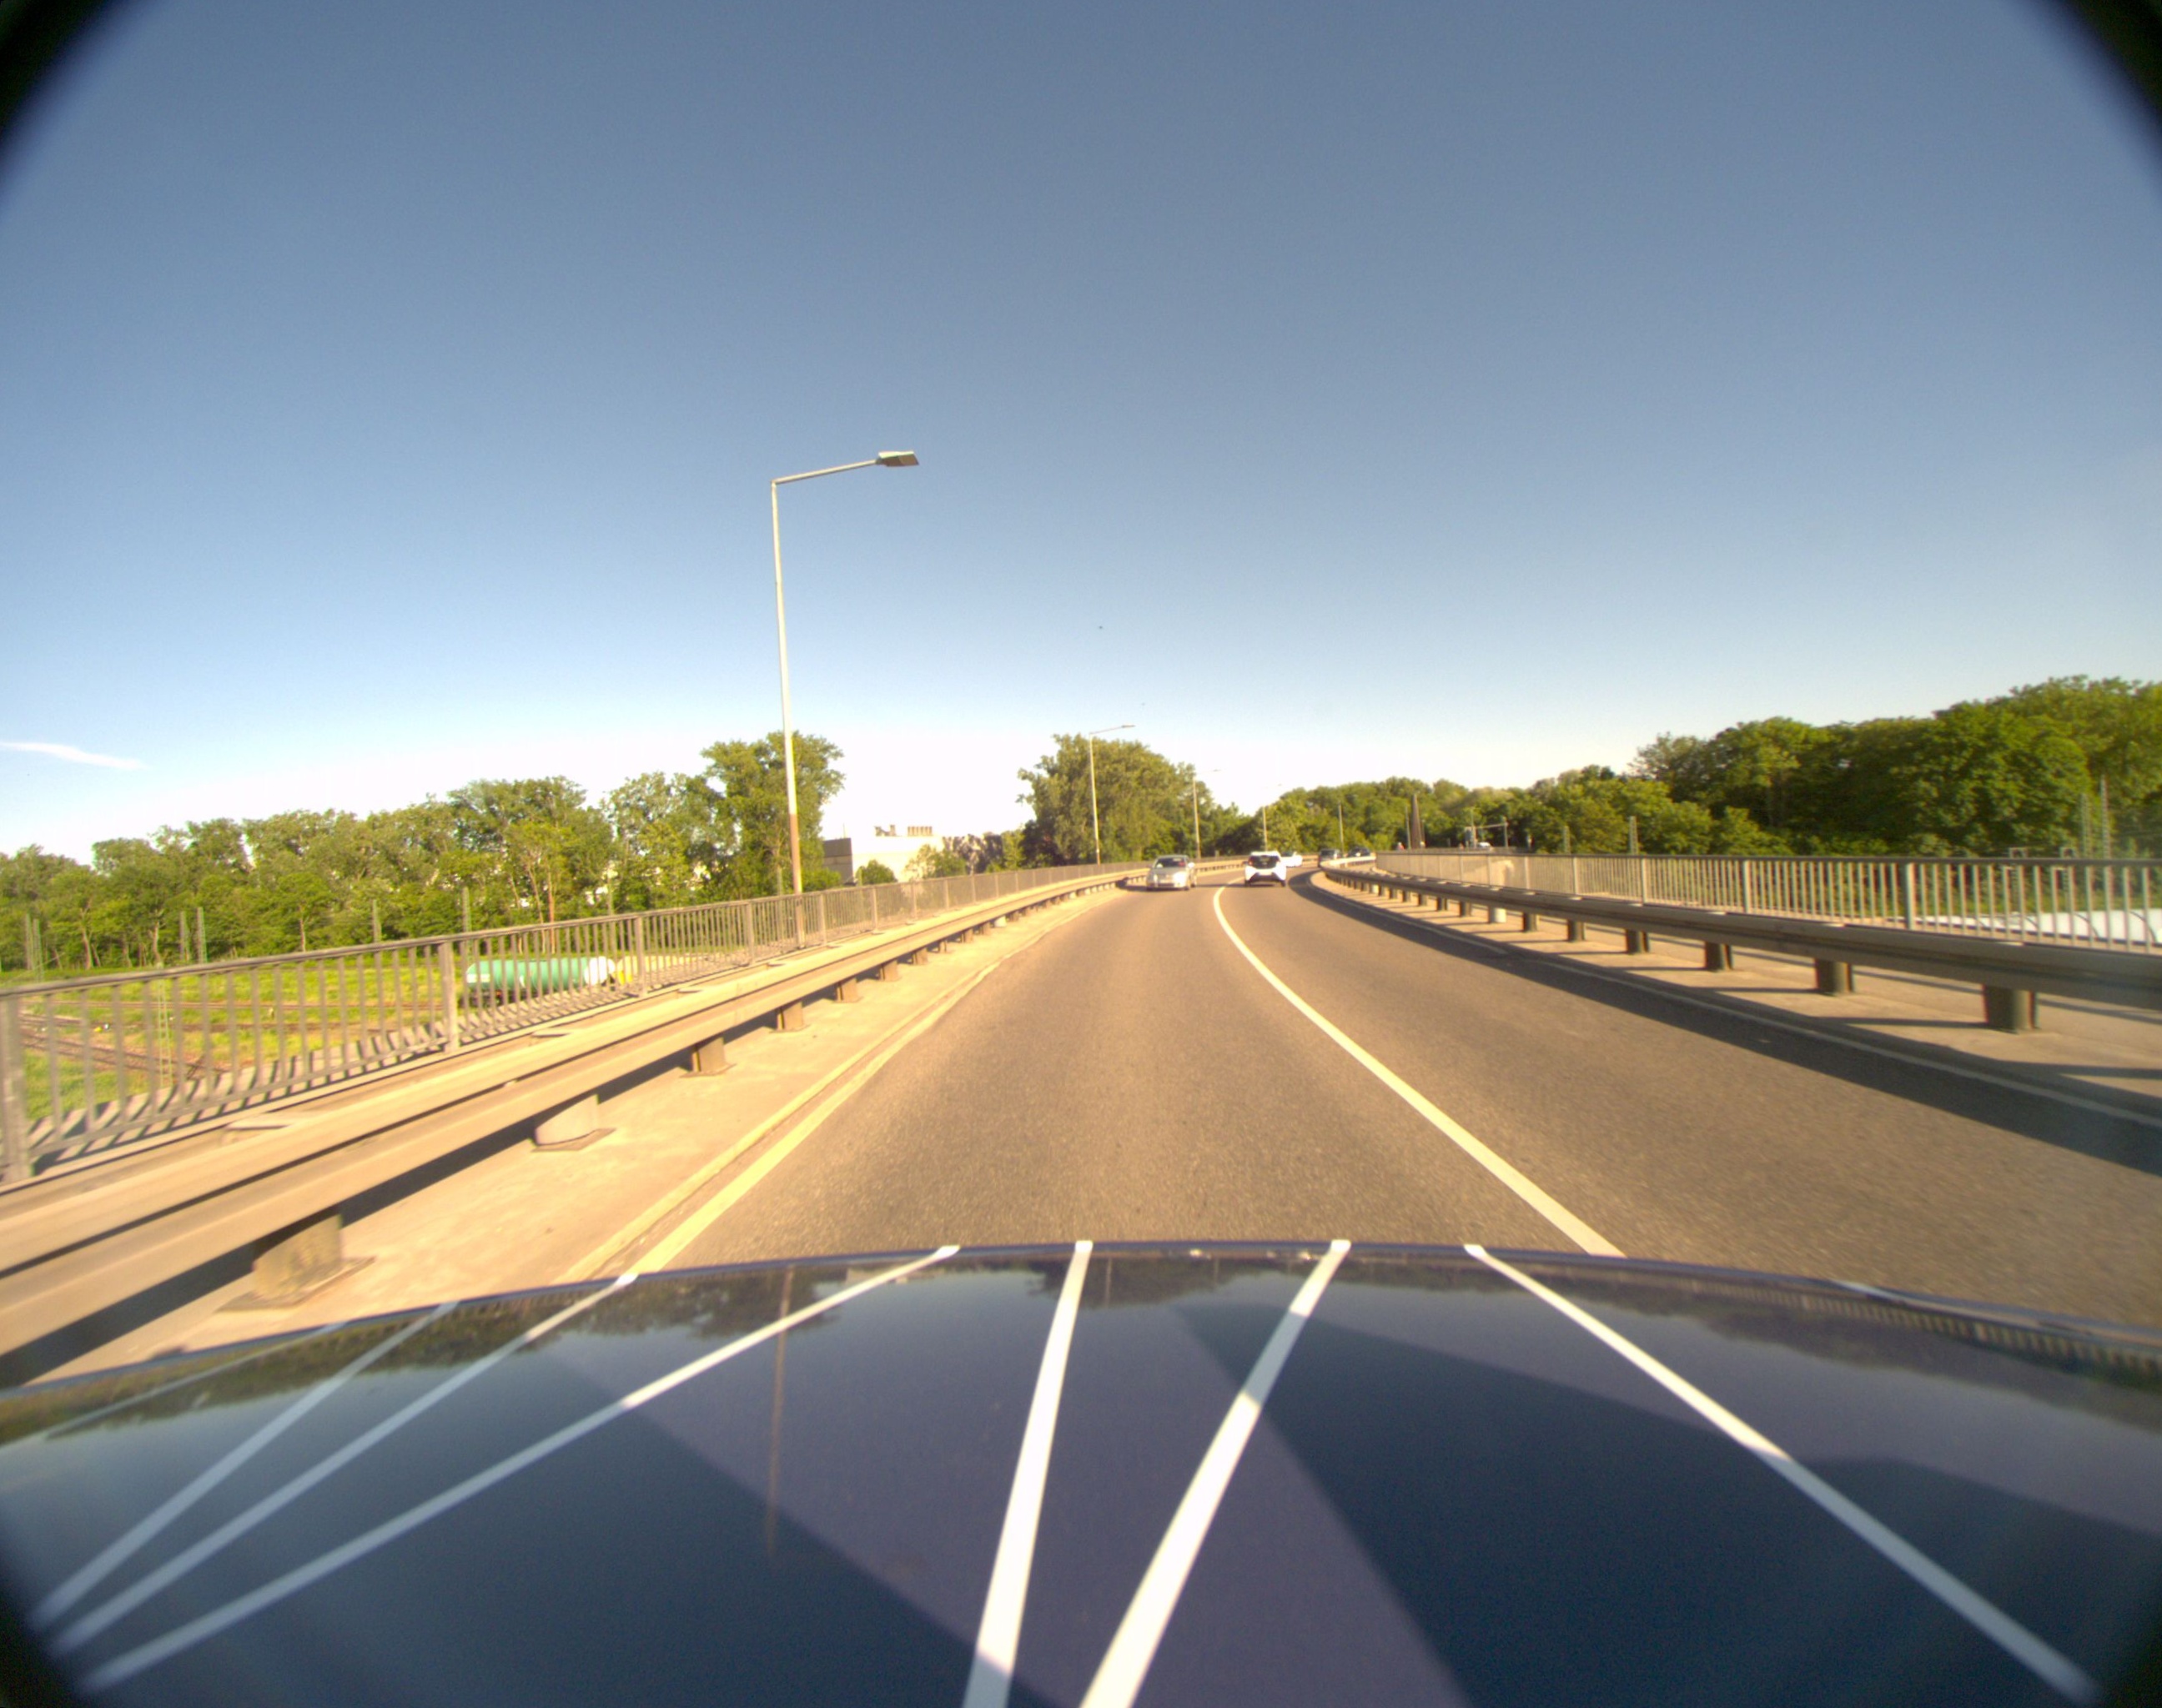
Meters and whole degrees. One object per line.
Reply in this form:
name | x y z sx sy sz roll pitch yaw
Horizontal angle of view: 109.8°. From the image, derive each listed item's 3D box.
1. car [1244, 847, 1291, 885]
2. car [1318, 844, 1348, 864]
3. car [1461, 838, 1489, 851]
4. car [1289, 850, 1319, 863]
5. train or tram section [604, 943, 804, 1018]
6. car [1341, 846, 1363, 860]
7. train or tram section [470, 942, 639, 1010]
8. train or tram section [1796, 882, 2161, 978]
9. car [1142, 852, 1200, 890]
car | 8.123 0.467 32.985 1.839 1.510 3.774 -1 0 15
car | 21.667 0.010 65.250 1.850 1.614 4.109 -1 0 26
car | 86.161 -1.987 166.190 2.115 2.484 5.701 -2 -1 -12
car | 25.802 0.272 87.768 1.989 1.465 4.138 -1 0 37
train or tram section | -31.243 10.260 62.775 16.848 5.231 3.340 -1 1 16
car | 33.200 -0.128 92.907 1.918 1.608 3.749 -1 0 29
train or tram section | -46.653 10.633 67.275 15.149 5.153 3.340 -1 1 16
train or tram section | 49.864 3.971 40.793 16.736 4.564 3.910 -1 1 16
car | 3.845 0.677 31.913 1.762 1.428 4.335 -1 0 15
